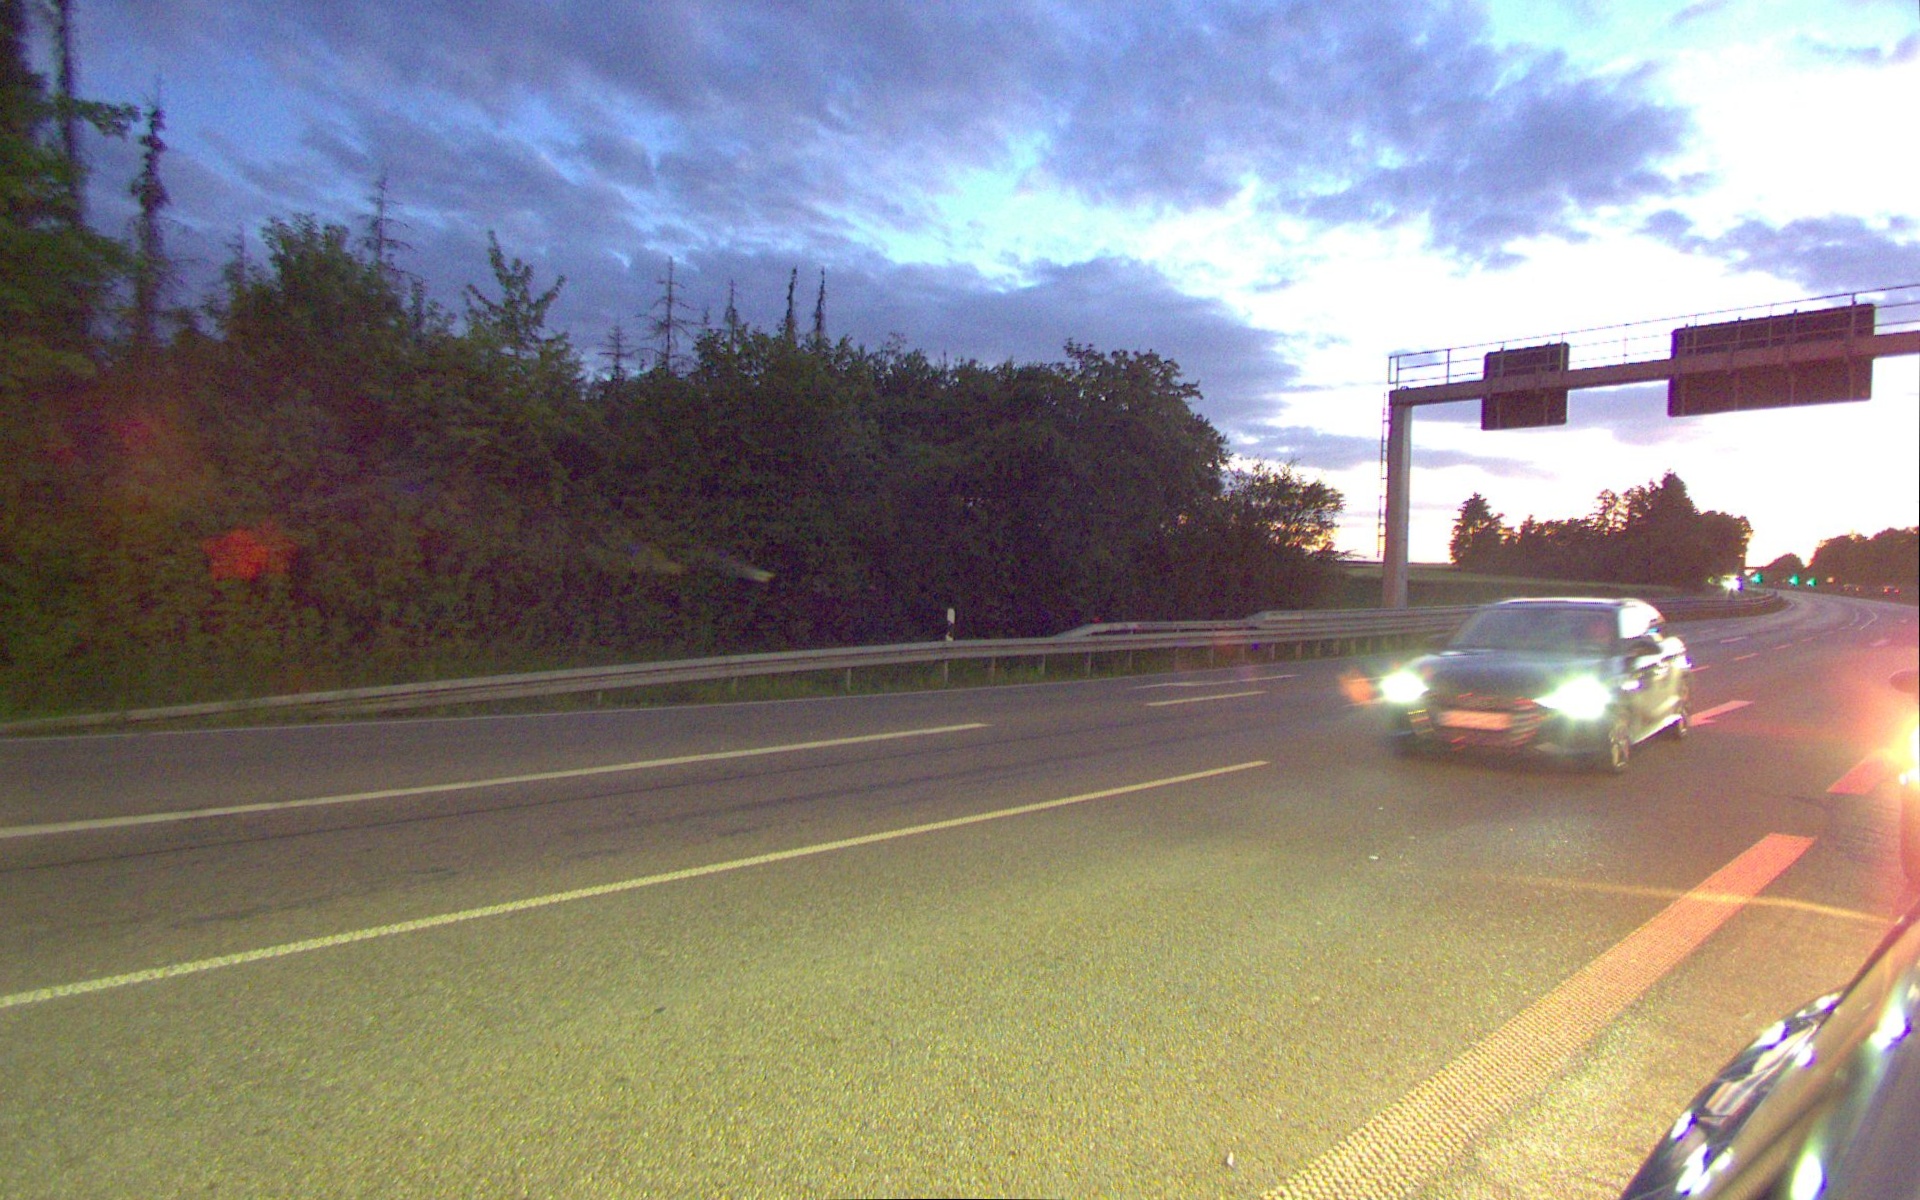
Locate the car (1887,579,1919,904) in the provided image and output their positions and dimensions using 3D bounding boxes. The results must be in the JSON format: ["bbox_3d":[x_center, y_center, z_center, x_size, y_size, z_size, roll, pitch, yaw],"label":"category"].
[{"bbox_3d":[6.317,0.650,5.243,3.707,1.499,1.670,0,1,-38],"label":"car"}]

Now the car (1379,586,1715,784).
[{"bbox_3d":[5.801,0.614,9.724,1.790,1.462,4.462,0,0,44],"label":"car"}]
